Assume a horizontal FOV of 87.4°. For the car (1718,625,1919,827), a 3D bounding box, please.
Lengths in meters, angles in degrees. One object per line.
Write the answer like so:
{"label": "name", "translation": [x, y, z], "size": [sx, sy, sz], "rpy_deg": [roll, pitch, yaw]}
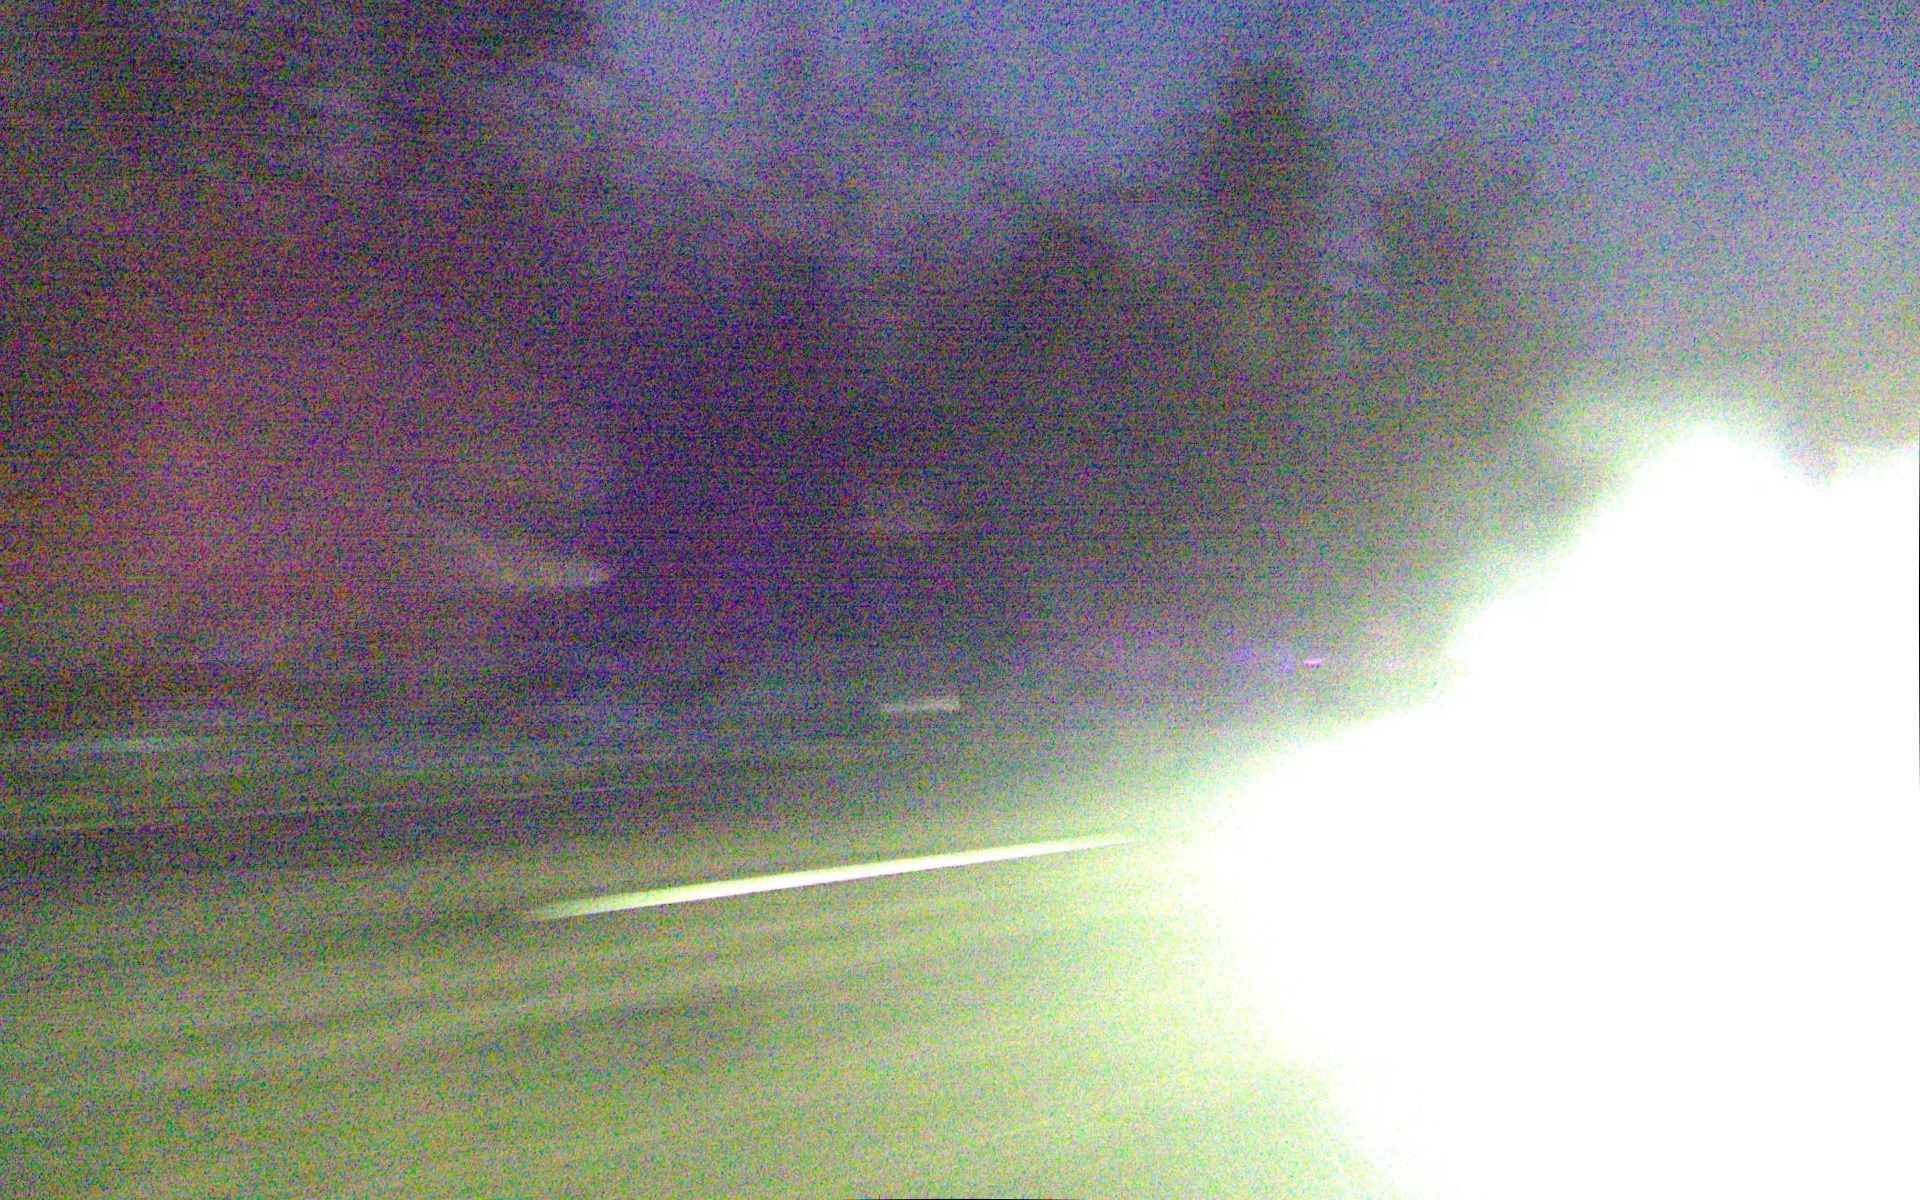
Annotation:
{"label": "car", "translation": [8.233, 0.937, 8.551], "size": [3.647, 1.445, 1.736], "rpy_deg": [1, -1, -33]}
